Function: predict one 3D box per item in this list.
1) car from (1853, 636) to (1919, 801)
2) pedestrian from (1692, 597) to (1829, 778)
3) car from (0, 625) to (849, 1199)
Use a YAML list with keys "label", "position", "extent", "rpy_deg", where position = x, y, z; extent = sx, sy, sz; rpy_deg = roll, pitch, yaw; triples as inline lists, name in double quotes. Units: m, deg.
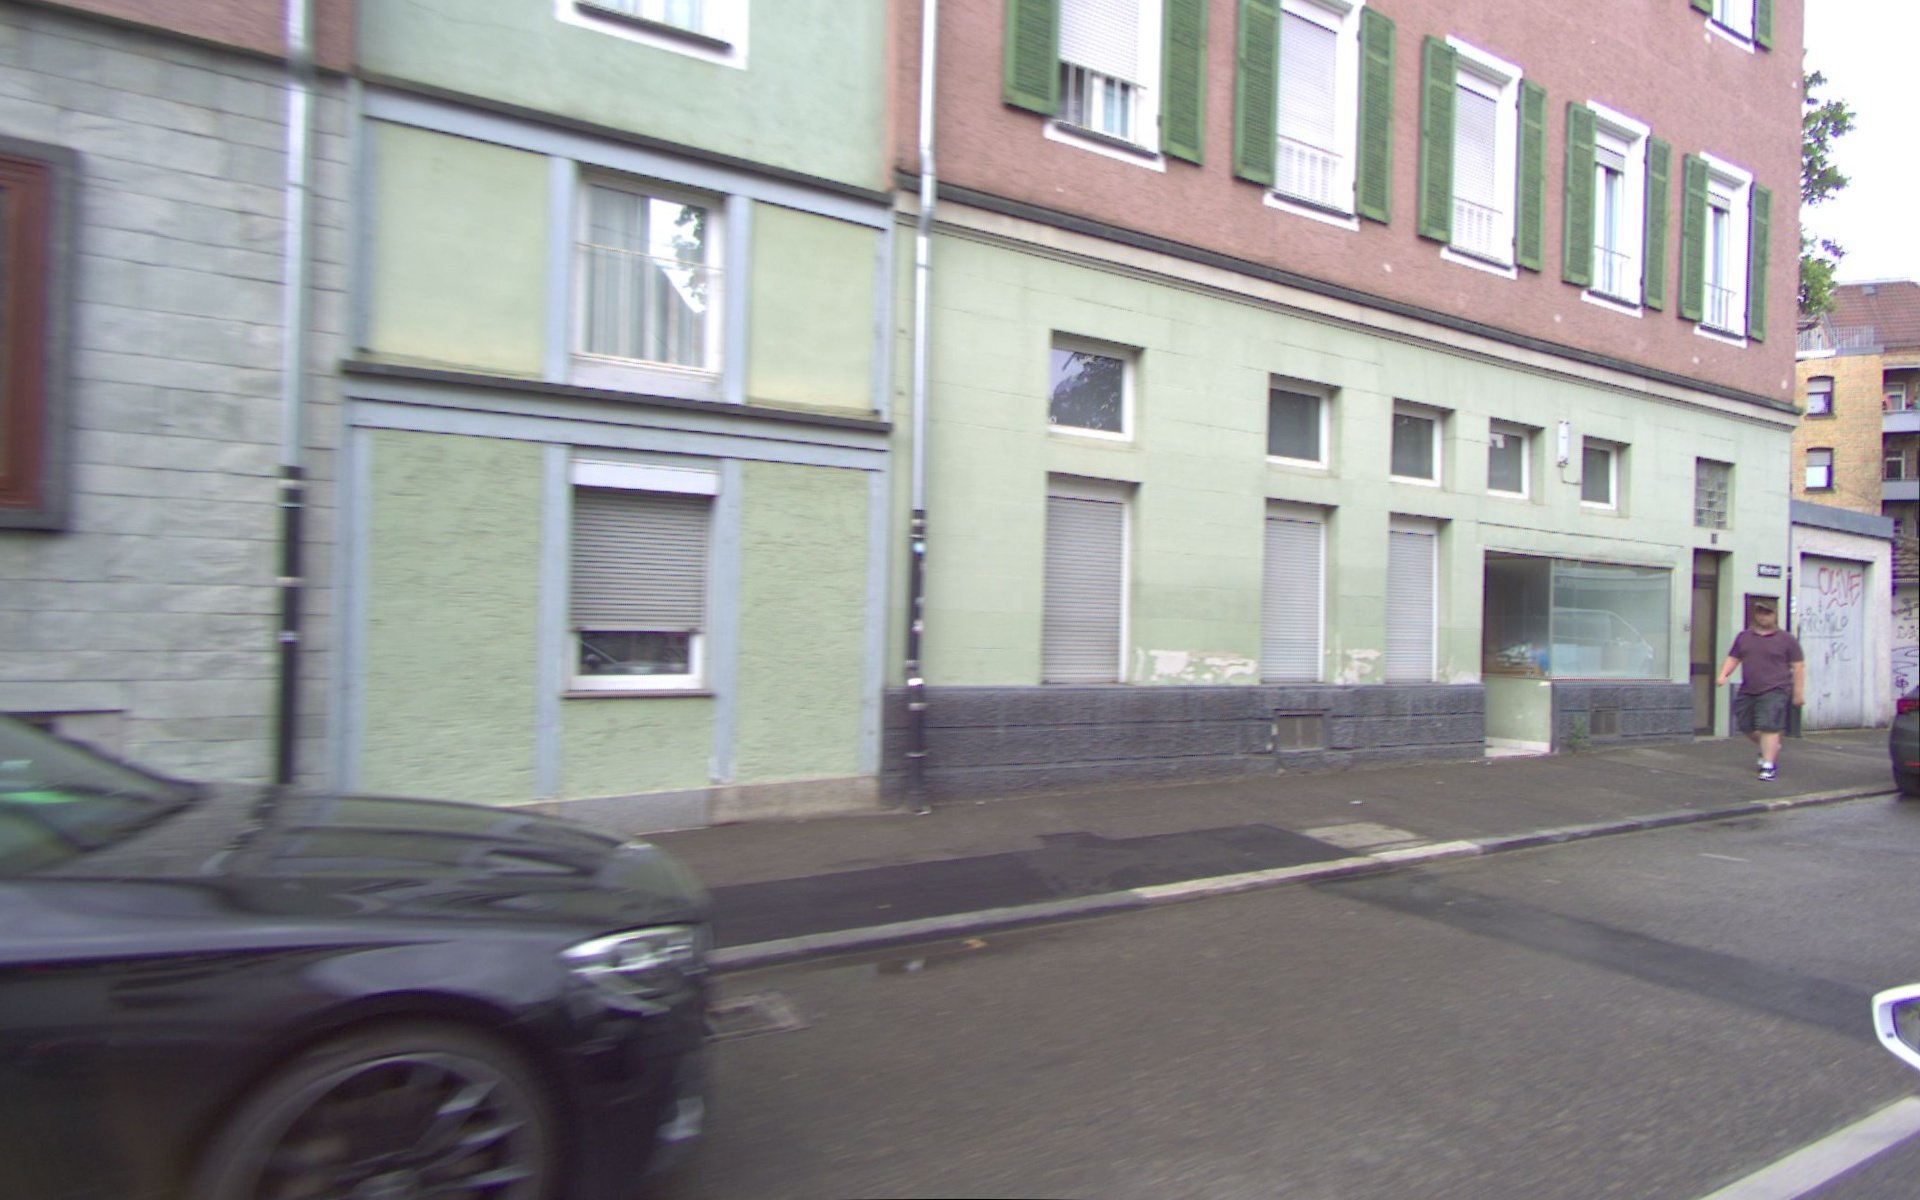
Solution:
- label: "car"
  position: [10.950, 1.159, 9.913]
  extent: [4.075, 1.506, 1.870]
  rpy_deg: [1, 1, -28]
- label: "pedestrian"
  position: [8.366, 0.884, 10.508]
  extent: [0.973, 1.767, 0.757]
  rpy_deg: [2, 1, -30]
- label: "car"
  position: [-2.843, 0.795, 2.113]
  extent: [4.859, 1.474, 1.822]
  rpy_deg: [2, -1, -28]
